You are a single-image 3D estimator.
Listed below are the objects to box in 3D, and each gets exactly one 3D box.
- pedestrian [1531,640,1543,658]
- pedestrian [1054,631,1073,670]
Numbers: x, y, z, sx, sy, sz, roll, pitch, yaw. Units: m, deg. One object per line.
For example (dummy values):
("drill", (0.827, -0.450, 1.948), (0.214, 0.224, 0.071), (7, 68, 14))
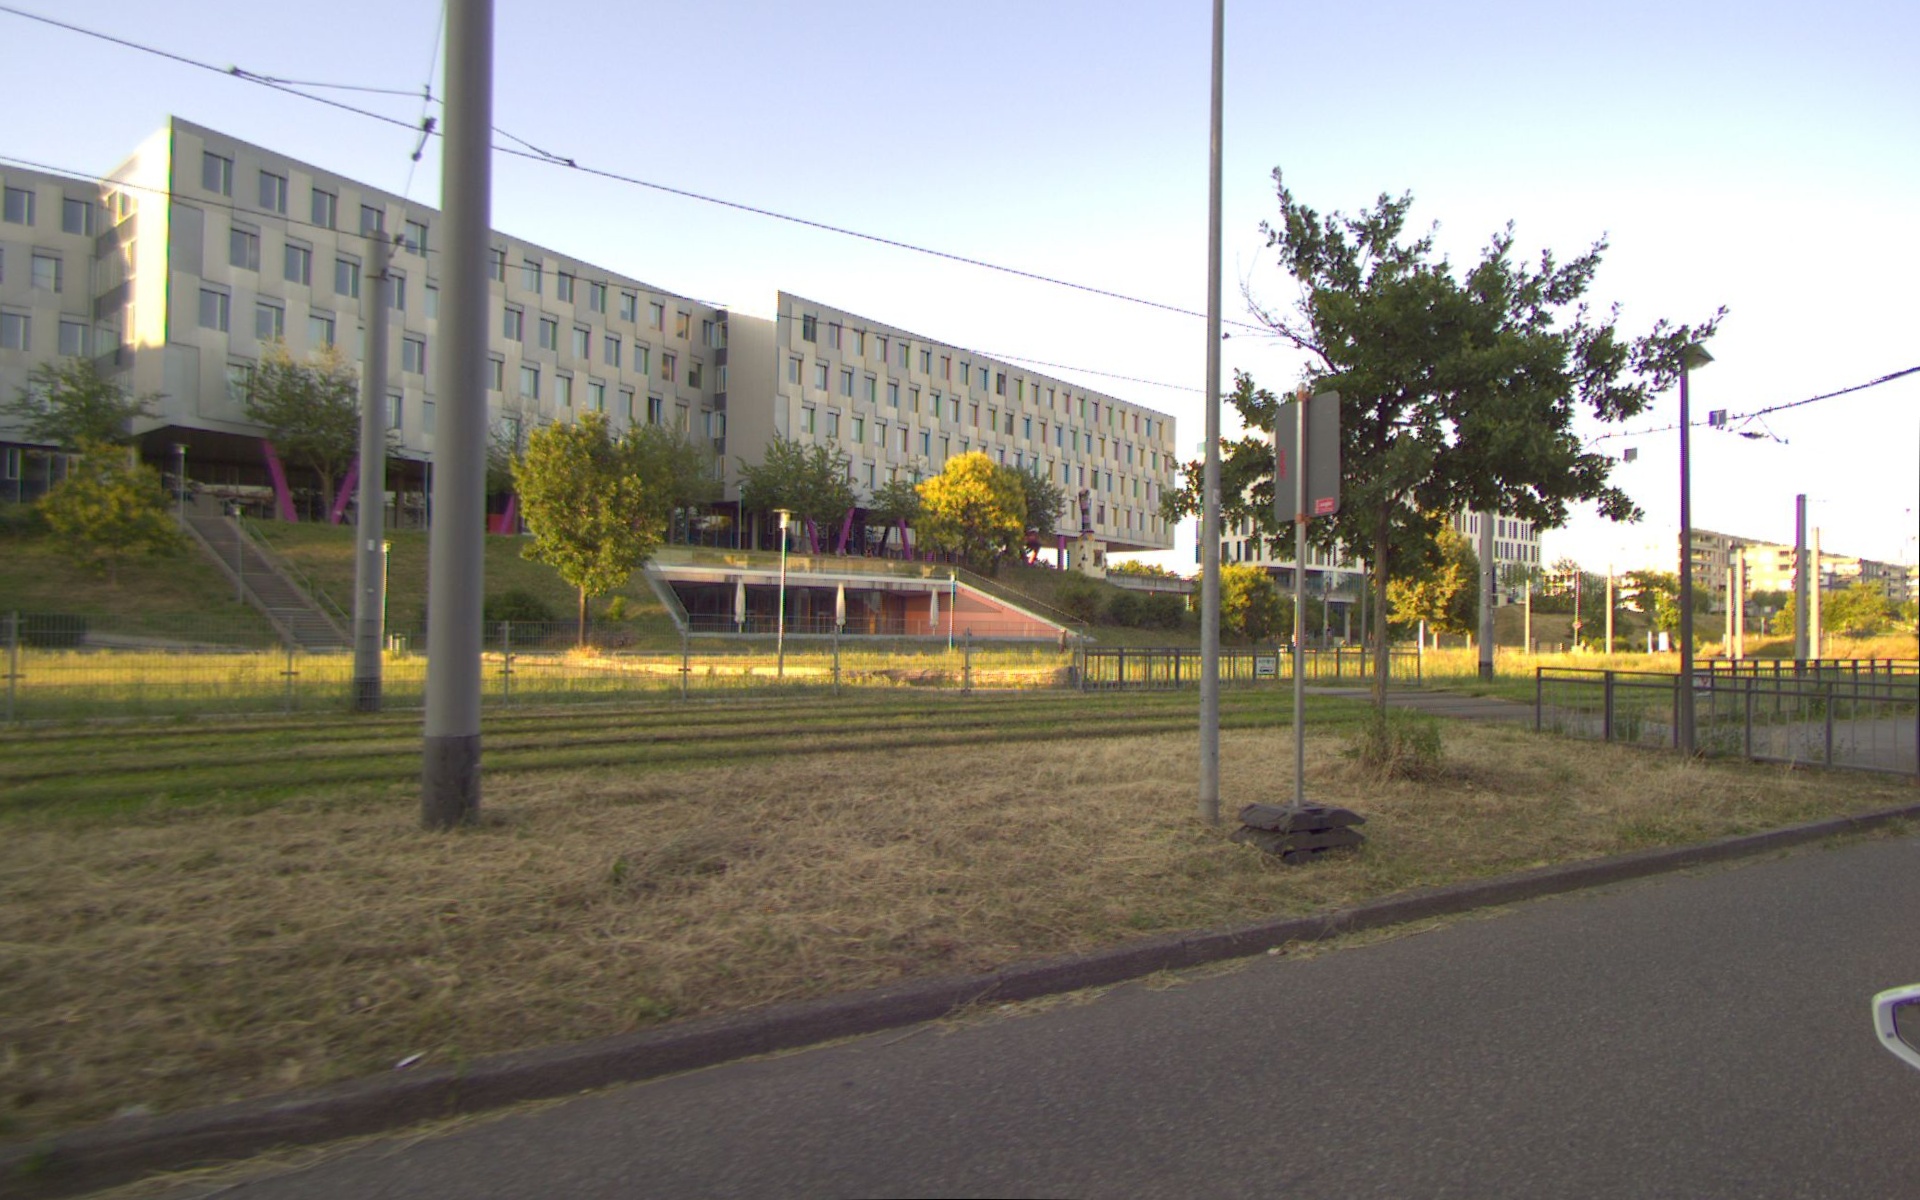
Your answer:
("pedestrian", (59.229, 5.003, 103.092), (0.803, 1.809, 0.784), (2, -2, -26))
("pedestrian", (5.685, 2.803, 55.380), (0.781, 2.110, 0.613), (2, 0, -30))
